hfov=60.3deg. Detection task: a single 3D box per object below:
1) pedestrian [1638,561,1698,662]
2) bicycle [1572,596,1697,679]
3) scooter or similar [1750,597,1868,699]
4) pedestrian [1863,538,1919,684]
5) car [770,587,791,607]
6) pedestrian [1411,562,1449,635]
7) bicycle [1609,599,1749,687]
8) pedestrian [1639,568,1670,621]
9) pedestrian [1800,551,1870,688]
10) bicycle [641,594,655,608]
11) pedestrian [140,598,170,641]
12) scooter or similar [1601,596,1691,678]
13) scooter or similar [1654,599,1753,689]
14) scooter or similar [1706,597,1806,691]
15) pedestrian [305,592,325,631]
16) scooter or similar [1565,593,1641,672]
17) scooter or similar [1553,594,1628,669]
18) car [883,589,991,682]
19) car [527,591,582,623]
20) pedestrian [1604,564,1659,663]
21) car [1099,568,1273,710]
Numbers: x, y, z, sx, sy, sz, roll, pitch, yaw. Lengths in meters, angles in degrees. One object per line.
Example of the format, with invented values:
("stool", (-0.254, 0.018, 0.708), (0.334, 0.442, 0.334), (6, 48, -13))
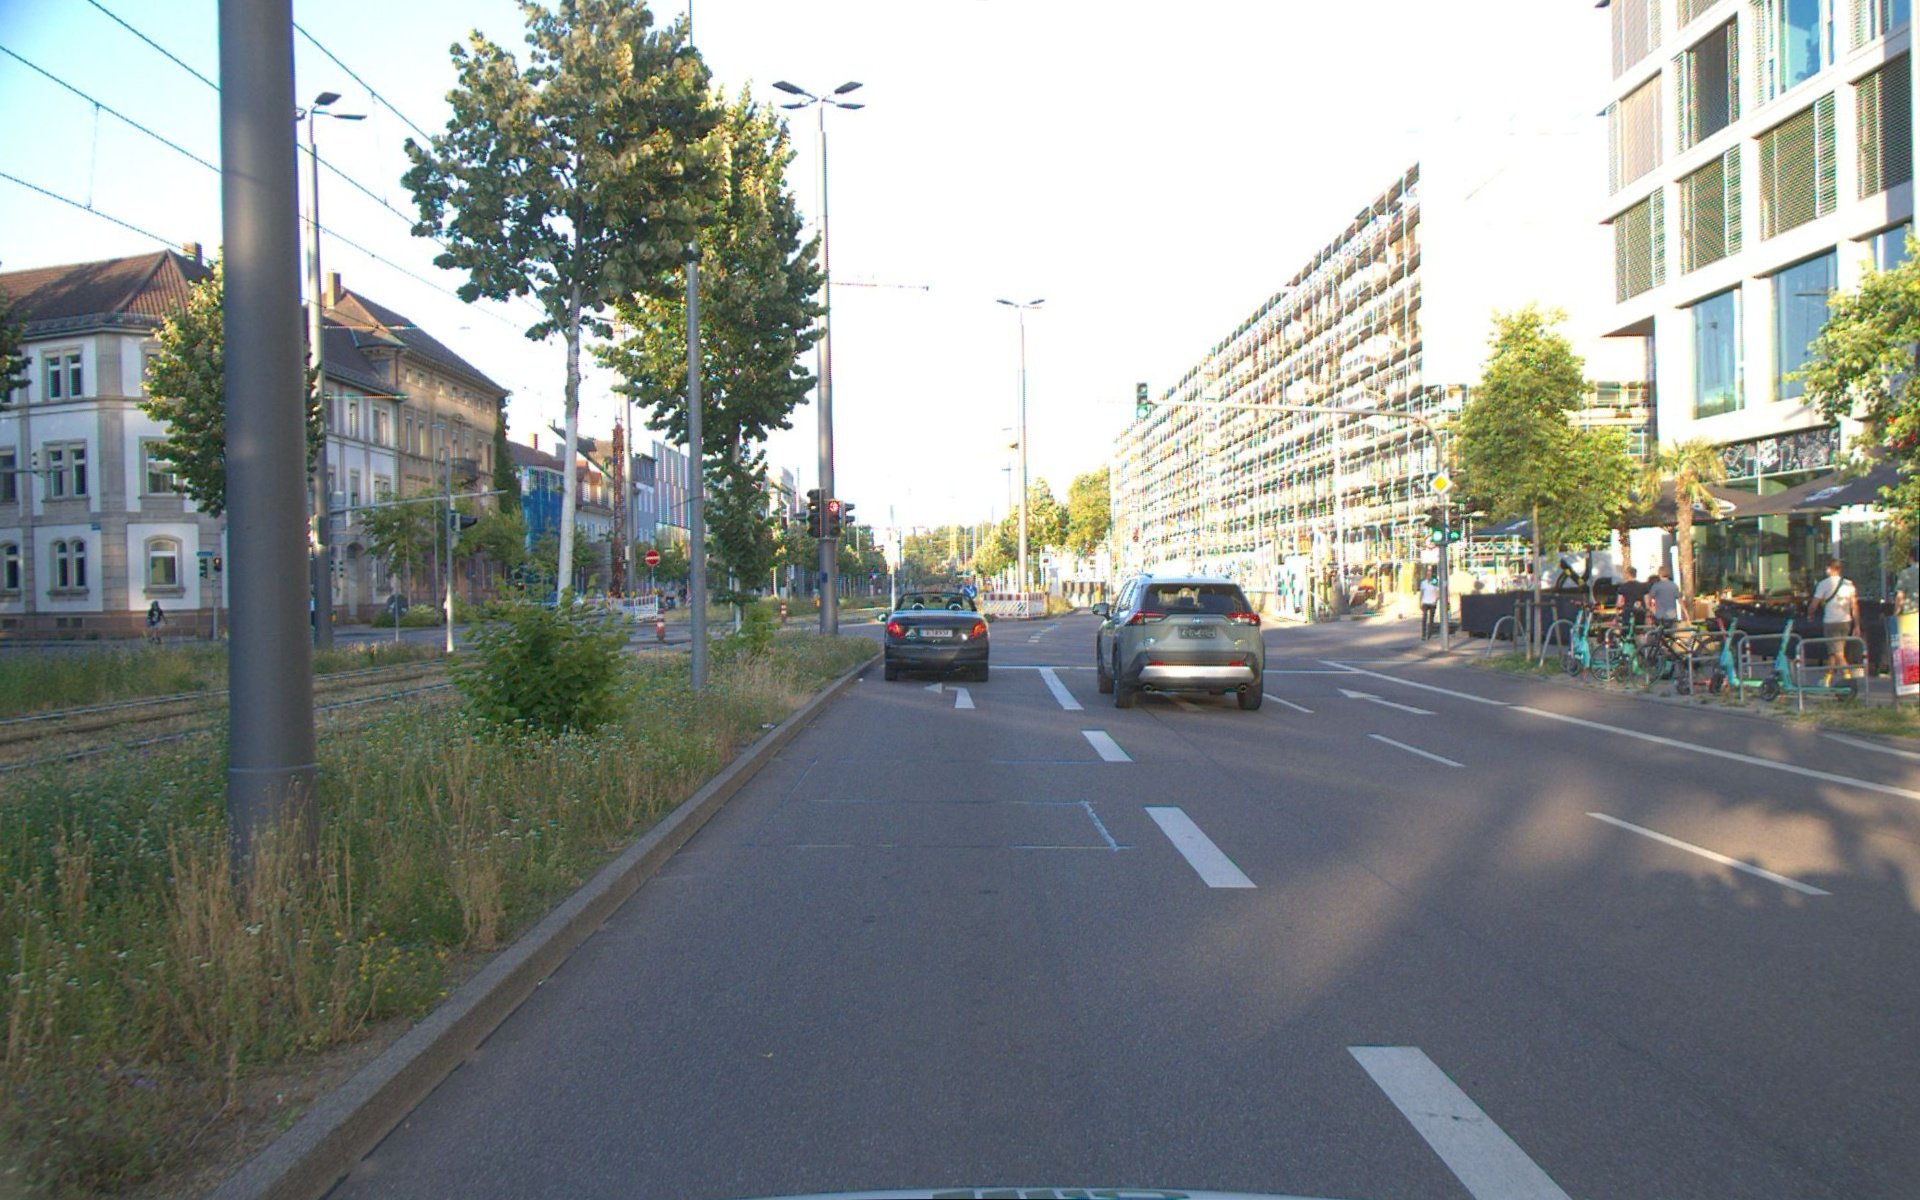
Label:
("pedestrian", (12.850, 0.198, 30.043), (0.671, 1.765, 0.761), (-3, 1, -1))
("bicycle", (10.906, 0.599, 26.766), (1.759, 1.214, 0.567), (-3, 1, -6))
("scooter or similar", (10.984, 0.627, 21.432), (1.266, 1.239, 0.535), (-4, 0, 23))
("pedestrian", (12.863, 0.133, 22.362), (0.807, 1.921, 0.867), (-3, -1, 7))
("car", (-18.879, -0.300, 174.326), (1.623, 1.998, 4.267), (1, 1, 1))
("pedestrian", (12.334, -0.043, 43.405), (0.753, 1.880, 0.678), (-2, 1, -1))
("bicycle", (10.855, 0.640, 24.993), (1.809, 1.202, 0.608), (-3, 1, -1))
("pedestrian", (18.281, -0.150, 43.543), (0.600, 1.342, 0.621), (-4, 0, 17))
("pedestrian", (12.050, 0.265, 22.792), (0.564, 1.817, 0.829), (-3, -1, 12))
("bicycle", (-23.842, 0.053, 126.345), (0.583, 1.006, 1.542), (1, 1, -27))
("pedestrian", (-28.638, 0.681, 58.868), (0.591, 1.484, 0.936), (1, 0, 1))
("scooter or similar", (10.871, 0.576, 26.234), (1.186, 1.222, 0.479), (-3, 1, -6))
("scooter or similar", (10.680, 0.625, 23.771), (1.132, 1.212, 0.510), (-3, -1, 1))
("scooter or similar", (11.060, 0.607, 22.992), (1.104, 1.235, 0.532), (-3, -1, 15))
("pedestrian", (-28.726, 0.512, 73.672), (0.690, 1.745, 0.810), (1, 1, -14))
("scooter or similar", (10.838, 0.542, 27.887), (1.039, 1.244, 0.550), (-3, 0, 9))
("scooter or similar", (11.070, 0.545, 29.071), (1.031, 1.244, 0.598), (-3, 1, -5))
("car", (-0.368, 0.526, 27.186), (1.640, 1.375, 4.000), (0, 1, -1))
("car", (-22.329, 0.371, 91.202), (1.953, 1.607, 4.124), (-2, 1, 0))
("pedestrian", (12.175, 0.240, 30.012), (0.640, 1.731, 0.689), (-3, 1, -1))
("car", (2.881, 0.436, 21.898), (1.796, 1.701, 4.283), (0, 1, 1))
